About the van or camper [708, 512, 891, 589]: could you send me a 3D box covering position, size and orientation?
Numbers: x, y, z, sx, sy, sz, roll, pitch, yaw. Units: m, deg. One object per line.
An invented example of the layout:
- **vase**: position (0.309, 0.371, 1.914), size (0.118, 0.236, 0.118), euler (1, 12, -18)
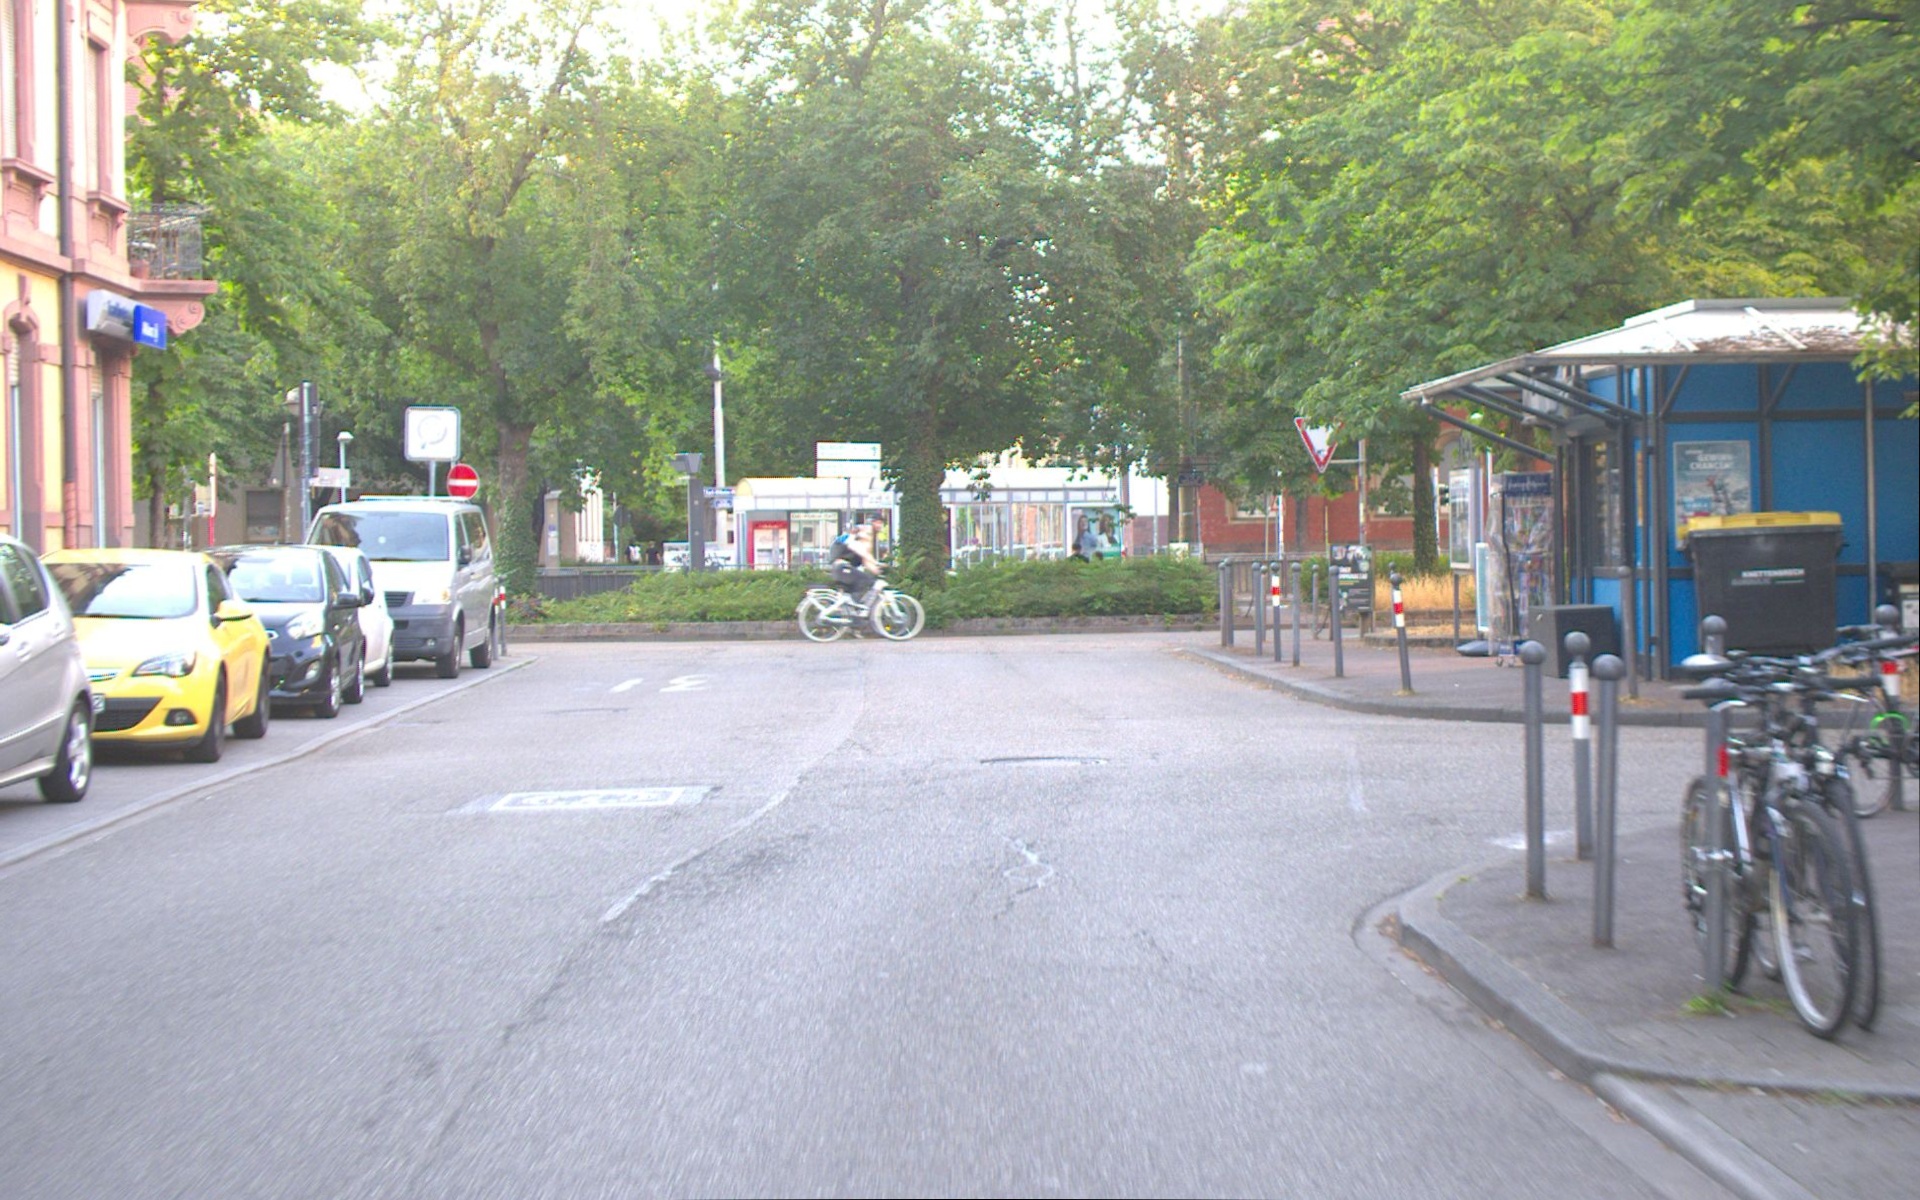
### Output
- **van or camper**: position (-6.633, -2.028, 141.316), size (7.364, 3.072, 2.674), euler (0, 1, -5)

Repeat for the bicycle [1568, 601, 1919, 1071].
- **bicycle**: position (2.371, 0.625, 10.148), size (0.684, 1.147, 2.115), euler (-4, 1, 0)

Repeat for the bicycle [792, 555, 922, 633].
- **bicycle**: position (-1.481, -0.090, 49.251), size (1.828, 1.066, 0.709), euler (-1, 1, -3)

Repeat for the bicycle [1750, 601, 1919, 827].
- **bicycle**: position (4.490, 0.536, 16.841), size (1.471, 1.036, 0.432), euler (-2, 1, -43)

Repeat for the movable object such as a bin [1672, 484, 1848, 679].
- **movable object such as a bin**: position (6.432, -0.154, 27.691), size (1.222, 1.470, 0.765), euler (-4, 1, 8)

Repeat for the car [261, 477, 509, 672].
- **car**: position (-6.452, -0.312, 39.124), size (2.040, 2.050, 5.005), euler (1, 1, -1)

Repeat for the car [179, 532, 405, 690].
- **car**: position (-6.650, 0.073, 34.515), size (1.684, 1.486, 3.614), euler (1, 1, -2)

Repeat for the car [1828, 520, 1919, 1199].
- **car**: position (2.857, 0.570, 5.794), size (1.763, 1.479, 4.463), euler (-4, 1, 3)

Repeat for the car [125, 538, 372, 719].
- **car**: position (-6.234, 0.204, 30.454), size (1.728, 1.486, 3.743), euler (1, 1, -5)

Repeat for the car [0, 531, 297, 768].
- **car**: position (-6.084, 0.283, 25.103), size (1.838, 1.520, 4.802), euler (1, 1, -4)

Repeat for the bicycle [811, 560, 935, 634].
- **bicycle**: position (-1.310, -0.053, 51.898), size (1.828, 1.066, 0.709), euler (-1, 1, 0)

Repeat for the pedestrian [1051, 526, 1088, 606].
- **pedestrian**: position (1.965, -0.609, 61.579), size (0.616, 1.426, 0.655), euler (-1, 1, 0)

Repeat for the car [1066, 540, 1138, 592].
- **car**: position (4.723, -1.148, 114.944), size (1.993, 1.698, 4.720), euler (0, 1, -3)

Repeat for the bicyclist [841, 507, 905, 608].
- **bicyclist**: position (-1.313, -0.640, 51.891), size (0.916, 1.497, 0.709), euler (-1, 1, 0)

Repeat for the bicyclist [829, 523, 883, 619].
- **bicyclist**: position (-1.491, -0.423, 49.255), size (0.736, 1.354, 0.709), euler (-1, 1, -3)

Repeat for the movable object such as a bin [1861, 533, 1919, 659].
- **movable object such as a bin**: position (7.583, -0.034, 27.732), size (0.479, 0.998, 0.487), euler (-1, 1, 0)

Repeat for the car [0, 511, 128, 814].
- **car**: position (-5.925, 0.299, 18.652), size (1.800, 1.587, 4.145), euler (1, 1, 0)
